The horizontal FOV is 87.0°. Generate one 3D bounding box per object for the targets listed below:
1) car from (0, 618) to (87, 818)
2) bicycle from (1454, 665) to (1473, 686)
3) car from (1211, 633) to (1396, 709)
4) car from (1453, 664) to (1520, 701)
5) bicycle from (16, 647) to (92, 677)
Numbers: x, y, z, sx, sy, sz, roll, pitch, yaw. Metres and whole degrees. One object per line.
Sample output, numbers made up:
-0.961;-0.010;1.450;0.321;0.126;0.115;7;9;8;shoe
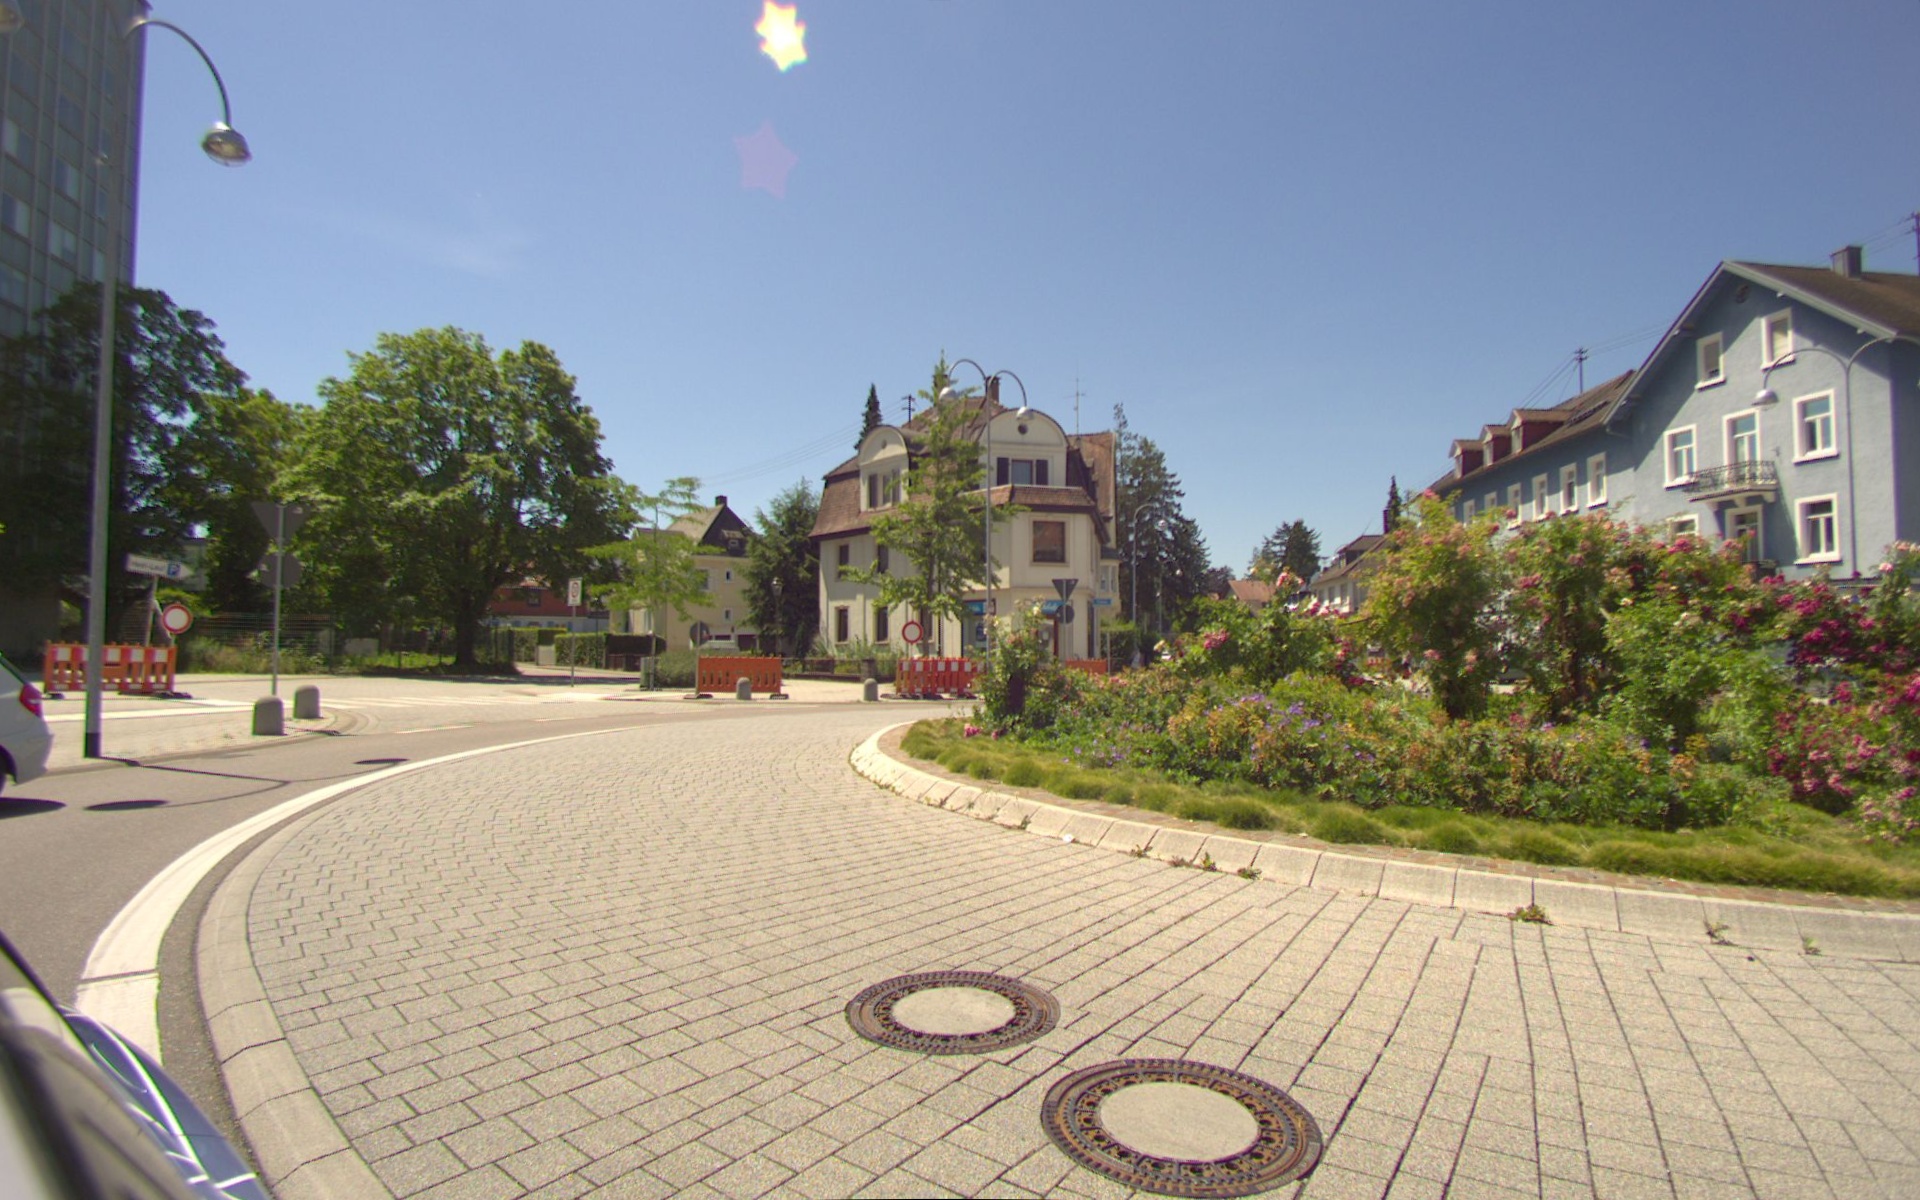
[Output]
-8.850;0.825;6.820;1.774;1.563;4.100;1;-3;20;car
25.672;3.858;51.653;0.493;0.985;1.961;-5;-4;18;bicycle
8.585;1.778;25.410;4.215;1.791;1.768;-2;-4;22;car
24.745;3.857;47.679;1.564;1.546;3.765;-1;-2;8;car
-29.124;1.994;32.551;1.724;0.914;0.449;3;-4;-33;bicycle
